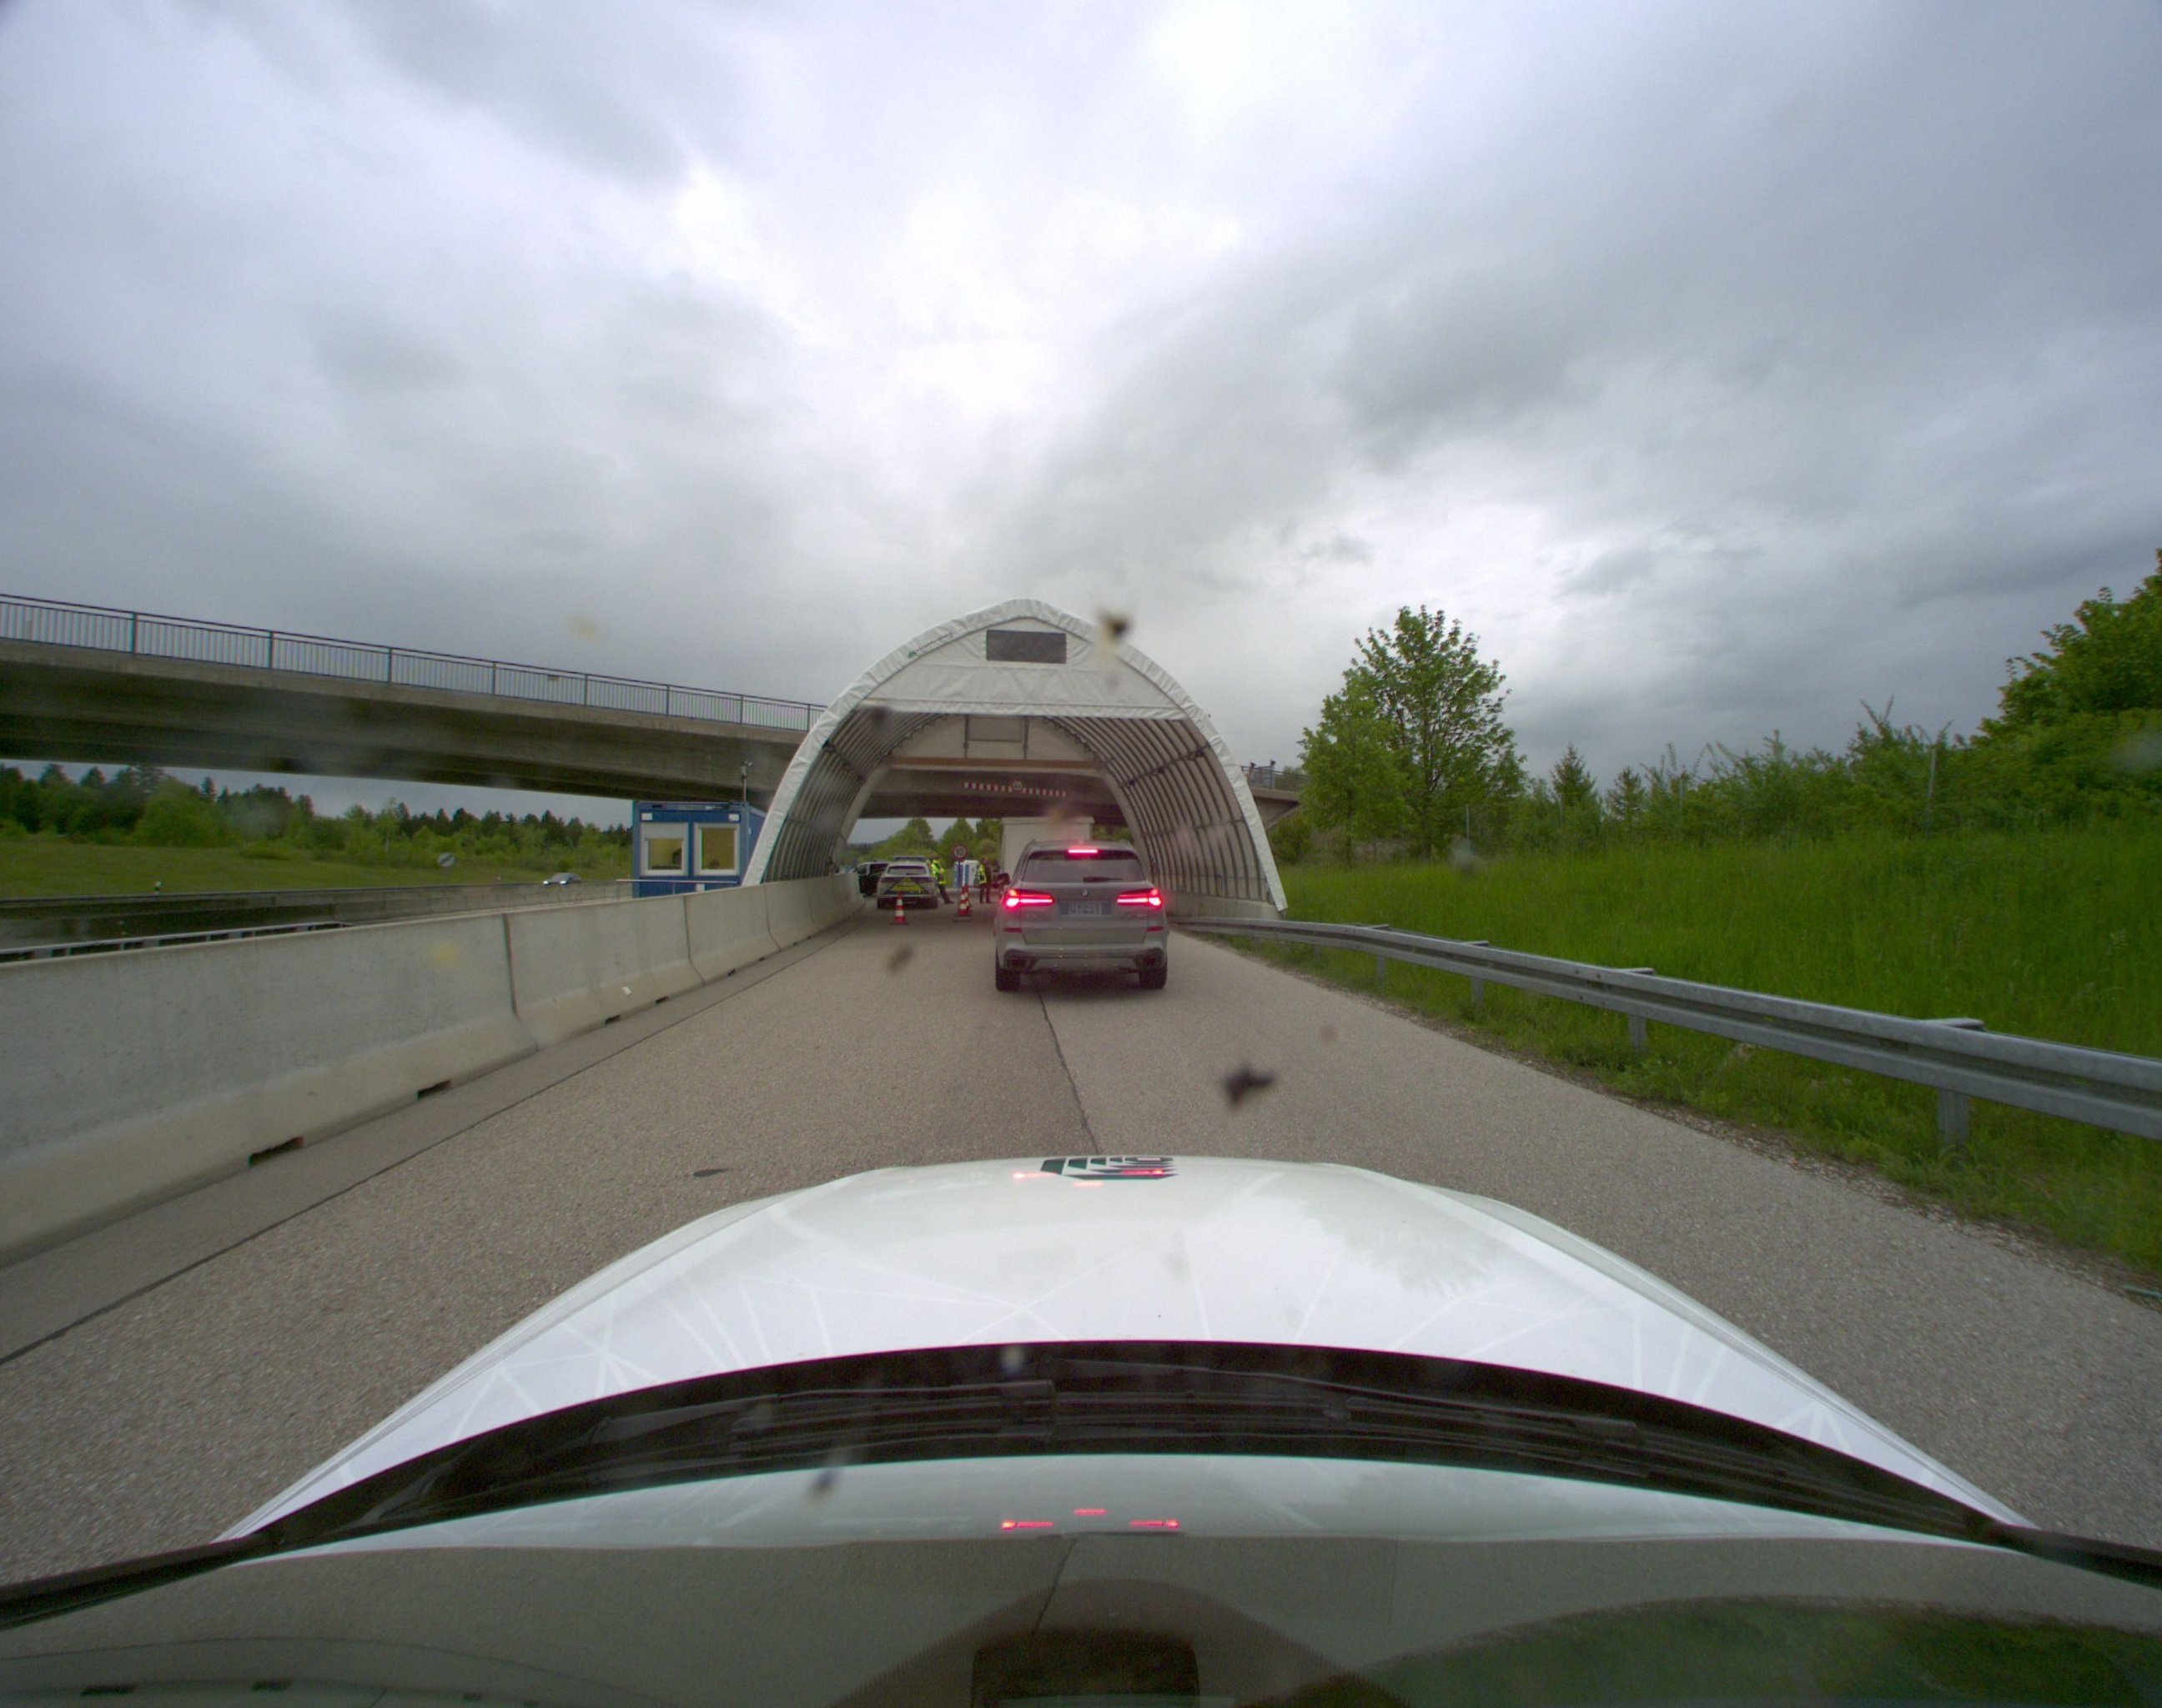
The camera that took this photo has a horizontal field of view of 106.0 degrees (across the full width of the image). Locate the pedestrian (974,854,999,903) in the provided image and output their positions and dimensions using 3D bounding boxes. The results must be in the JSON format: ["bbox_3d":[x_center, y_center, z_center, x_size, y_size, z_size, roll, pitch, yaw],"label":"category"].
[{"bbox_3d":[-3.410,0.866,29.420,0.756,1.722,0.778,-1,-1,-16],"label":"pedestrian"}]

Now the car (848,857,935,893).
[{"bbox_3d":[-11.489,1.271,49.482,4.777,2.014,1.845,-1,-1,9],"label":"car"}]

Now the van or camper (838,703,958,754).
[{"bbox_3d":[-8.958,-6.105,40.158,5.477,1.770,1.875,0,-1,-37],"label":"van or camper"}]

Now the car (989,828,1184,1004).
[{"bbox_3d":[-0.149,0.660,10.460,1.992,1.765,3.990,-1,-1,-7],"label":"car"}]

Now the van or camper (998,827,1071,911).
[{"bbox_3d":[-1.689,0.480,27.653,2.102,2.519,5.537,-1,-1,-7],"label":"van or camper"}]

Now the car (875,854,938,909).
[{"bbox_3d":[-5.776,0.860,27.014,1.879,1.647,3.983,-1,-1,-12],"label":"car"}]

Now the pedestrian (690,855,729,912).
[{"bbox_3d":[-9.244,0.723,20.289,0.606,1.373,0.629,-2,-1,10],"label":"pedestrian"}]

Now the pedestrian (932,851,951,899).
[{"bbox_3d":[-5.176,0.787,30.272,0.607,1.754,0.665,-1,-1,-4],"label":"pedestrian"}]

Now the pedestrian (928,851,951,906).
[{"bbox_3d":[-5.080,0.855,29.184,0.750,1.919,0.759,-1,-1,-13],"label":"pedestrian"}]

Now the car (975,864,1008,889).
[{"bbox_3d":[-6.484,1.591,58.691,1.994,1.722,3.882,-1,-1,-11],"label":"car"}]

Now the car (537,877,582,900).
[{"bbox_3d":[-49.156,3.244,76.817,1.987,1.955,5.084,-1,-1,-14],"label":"car"}]

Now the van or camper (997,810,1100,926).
[{"bbox_3d":[-1.054,0.343,21.559,2.227,2.552,6.595,-1,-1,-6],"label":"van or camper"}]
